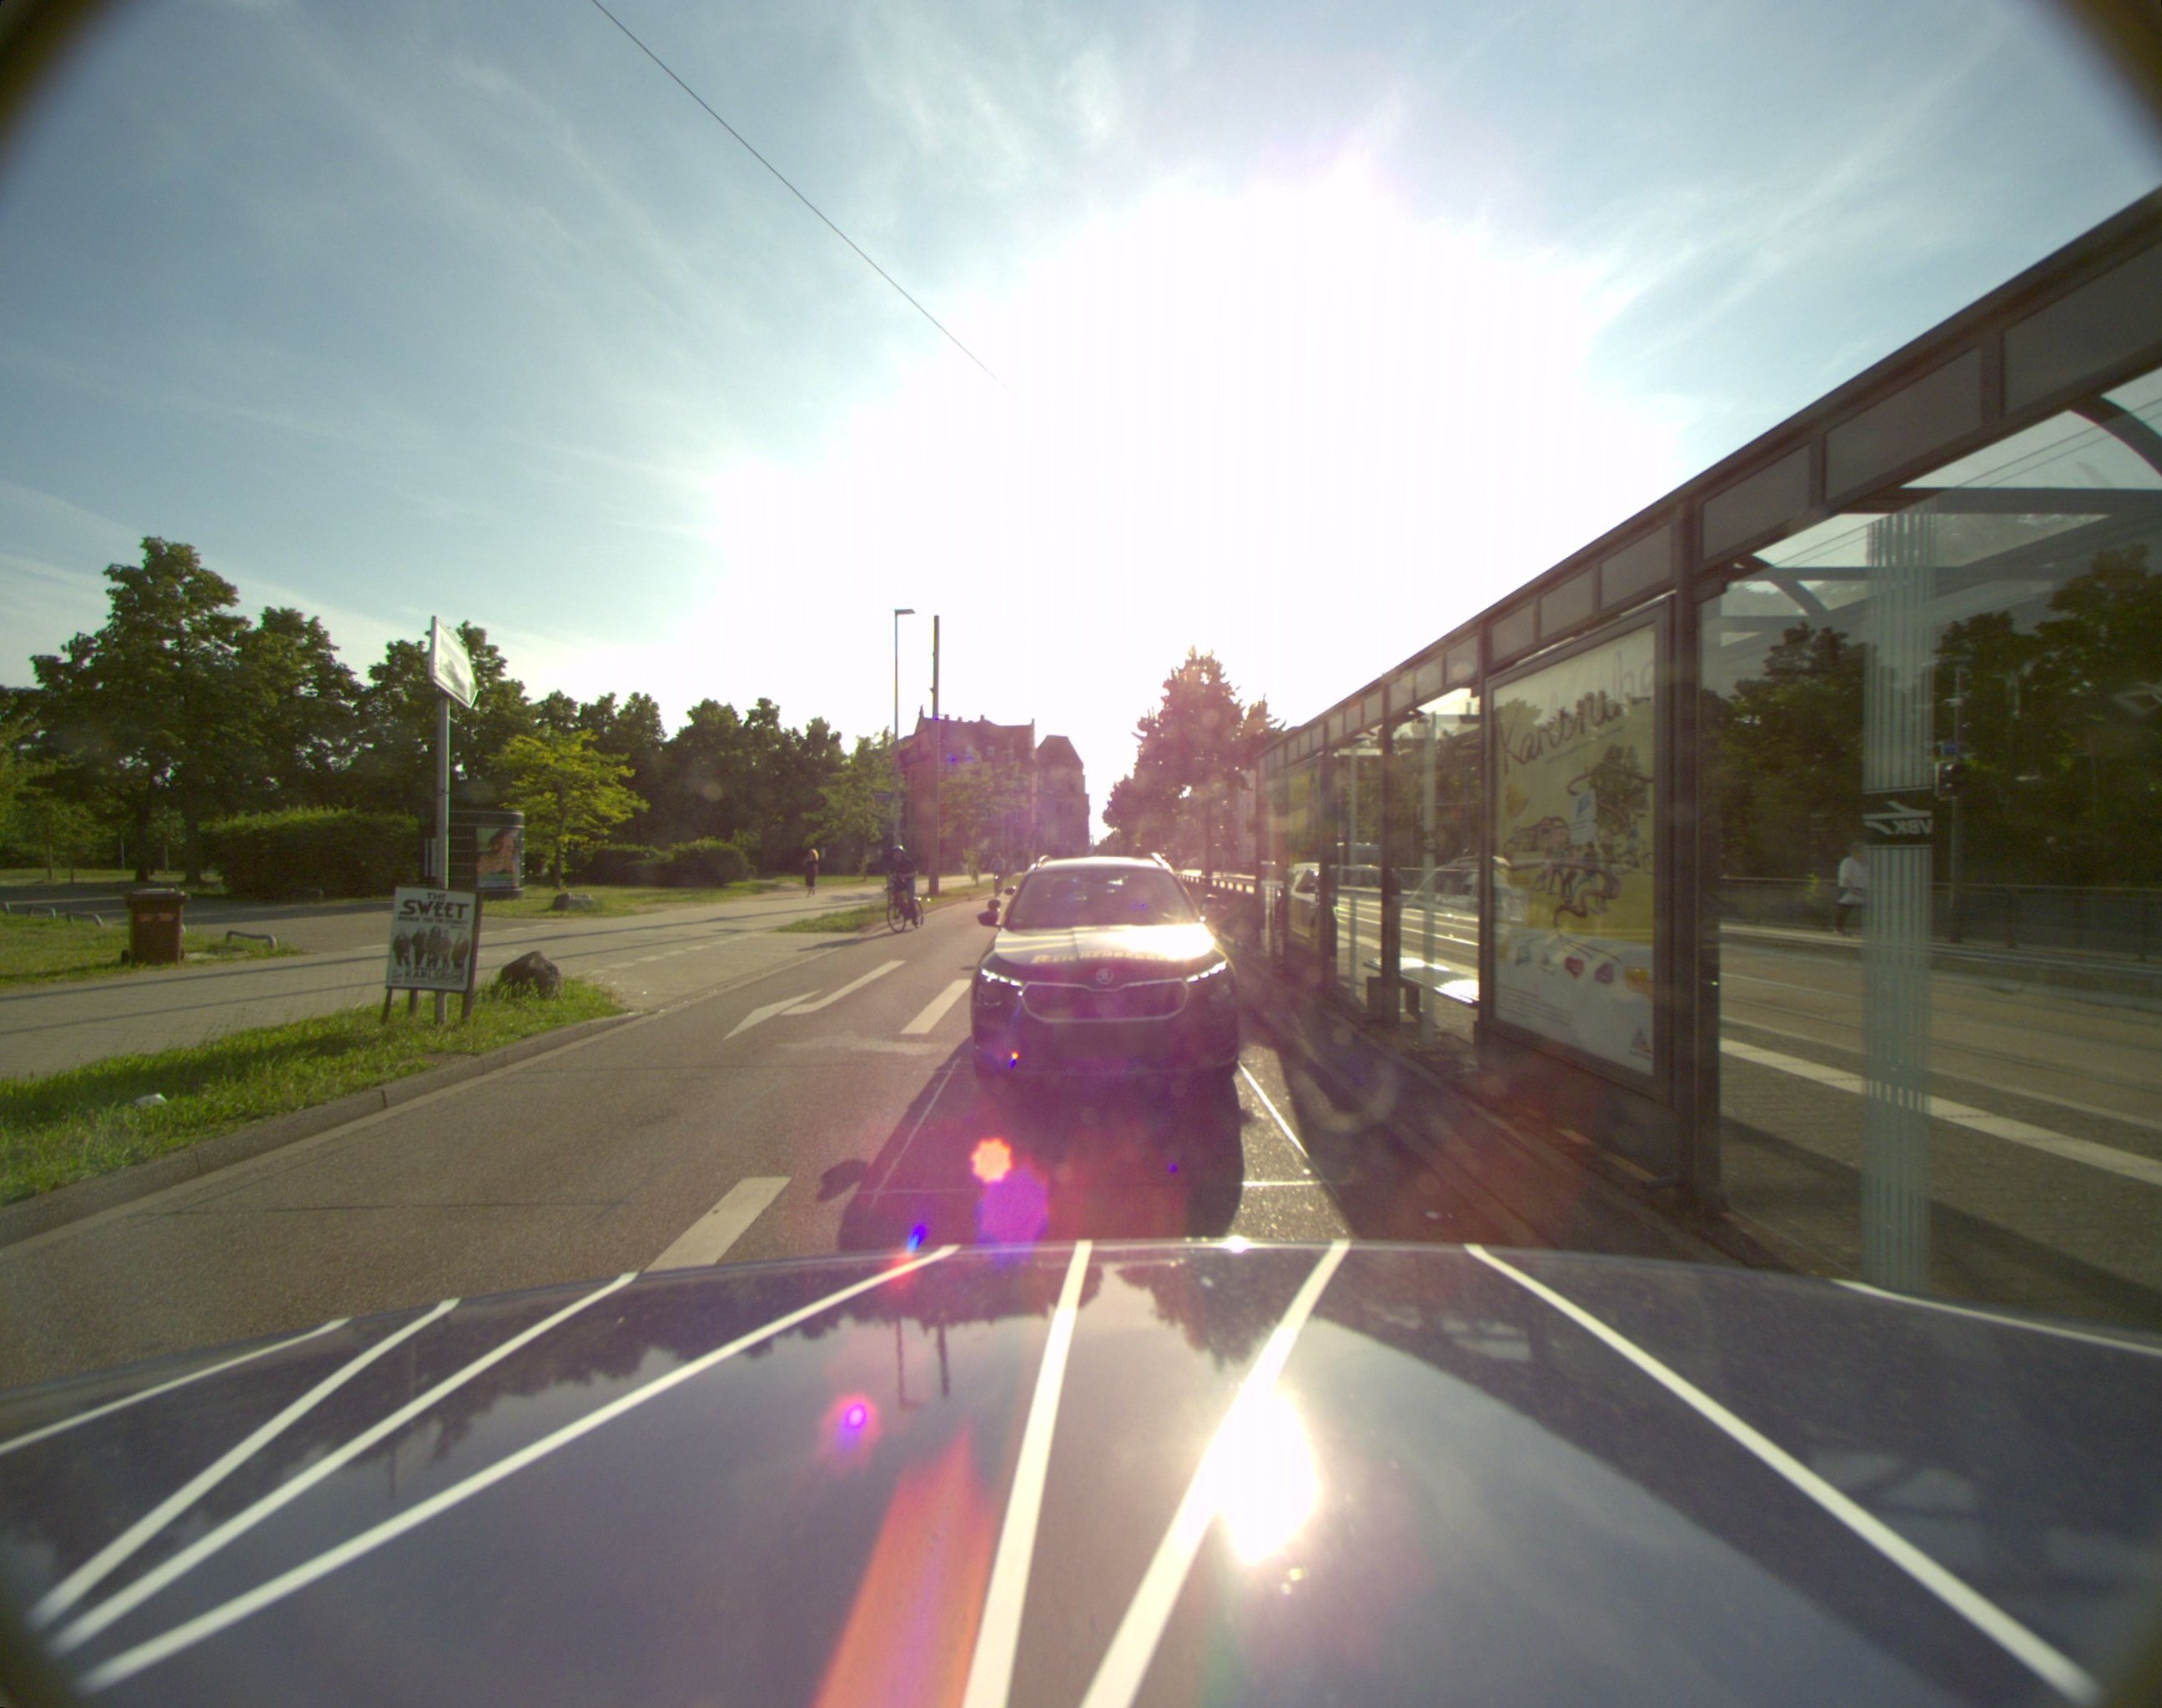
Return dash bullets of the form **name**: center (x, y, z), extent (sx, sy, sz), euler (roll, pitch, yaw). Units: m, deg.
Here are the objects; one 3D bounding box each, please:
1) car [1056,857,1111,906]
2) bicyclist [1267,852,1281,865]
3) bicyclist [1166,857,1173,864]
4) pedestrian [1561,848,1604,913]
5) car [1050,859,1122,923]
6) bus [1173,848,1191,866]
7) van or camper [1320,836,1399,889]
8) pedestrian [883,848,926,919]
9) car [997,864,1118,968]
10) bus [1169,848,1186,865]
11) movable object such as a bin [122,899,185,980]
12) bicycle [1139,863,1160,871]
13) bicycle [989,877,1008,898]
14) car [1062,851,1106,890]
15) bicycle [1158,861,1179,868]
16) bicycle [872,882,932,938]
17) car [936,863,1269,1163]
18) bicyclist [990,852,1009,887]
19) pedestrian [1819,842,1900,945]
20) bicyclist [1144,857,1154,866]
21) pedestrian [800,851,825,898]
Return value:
- **car**: center (0.129, 0.914, 26.886), extent (1.756, 1.534, 4.235), euler (-1, 0, 1)
- **bicyclist**: center (23.576, 0.534, 92.925), extent (1.402, 1.538, 0.888), euler (0, 0, -1)
- **bicyclist**: center (10.965, 0.775, 94.085), extent (0.897, 0.908, 0.616), euler (0, 0, 5)
- **pedestrian**: center (13.440, 0.693, 20.372), extent (0.621, 1.675, 0.618), euler (3, 1, 1)
- **car**: center (0.170, 0.931, 21.004), extent (1.756, 1.534, 4.235), euler (-1, 0, 1)
- **bus**: center (19.942, 0.567, 150.010), extent (2.437, 3.415, 9.261), euler (-2, 1, 1)
- **van or camper**: center (16.999, 0.457, 46.767), extent (2.527, 2.951, 6.411), euler (-2, 1, 1)
- **pedestrian**: center (-3.856, 0.632, 16.677), extent (0.636, 1.512, 0.845), euler (-2, 1, 5)
- **car**: center (-0.315, 0.943, 13.384), extent (1.756, 1.451, 4.235), euler (-1, 0, 1)
- **bus**: center (20.090, 0.451, 159.297), extent (2.437, 3.415, 9.261), euler (-2, 1, 1)
- **movable object such as a bin**: center (-11.424, 1.030, 9.366), extent (0.603, 0.912, 0.457), euler (1, 1, 42)
- **bicycle**: center (8.291, 1.578, 92.142), extent (2.536, 0.876, 0.631), euler (0, 0, 5)
- **bicycle**: center (-3.446, 1.385, 31.942), extent (0.567, 0.789, 2.041), euler (0, 0, 0)
- **car**: center (0.170, 0.682, 33.218), extent (1.756, 1.534, 4.235), euler (-1, 0, 1)
- **bicycle**: center (10.854, 1.346, 94.157), extent (2.536, 0.876, 0.631), euler (0, 0, 6)
- **bicycle**: center (-3.852, 1.185, 16.504), extent (0.651, 1.040, 1.981), euler (-2, 1, 5)
- **car**: center (0.150, 0.883, 6.213), extent (1.756, 1.534, 4.235), euler (-1, 0, 1)
- **bicyclist**: center (-3.403, 0.638, 31.912), extent (0.689, 1.445, 1.111), euler (0, 0, 0)
- **pedestrian**: center (13.120, 0.651, 12.821), extent (0.621, 1.675, 0.618), euler (3, 1, 1)
- **bicyclist**: center (8.221, 0.911, 92.147), extent (1.217, 1.018, 0.672), euler (0, 0, 5)
- **pedestrian**: center (-9.616, 0.728, 27.229), extent (0.621, 1.675, 0.618), euler (-2, 1, 1)
